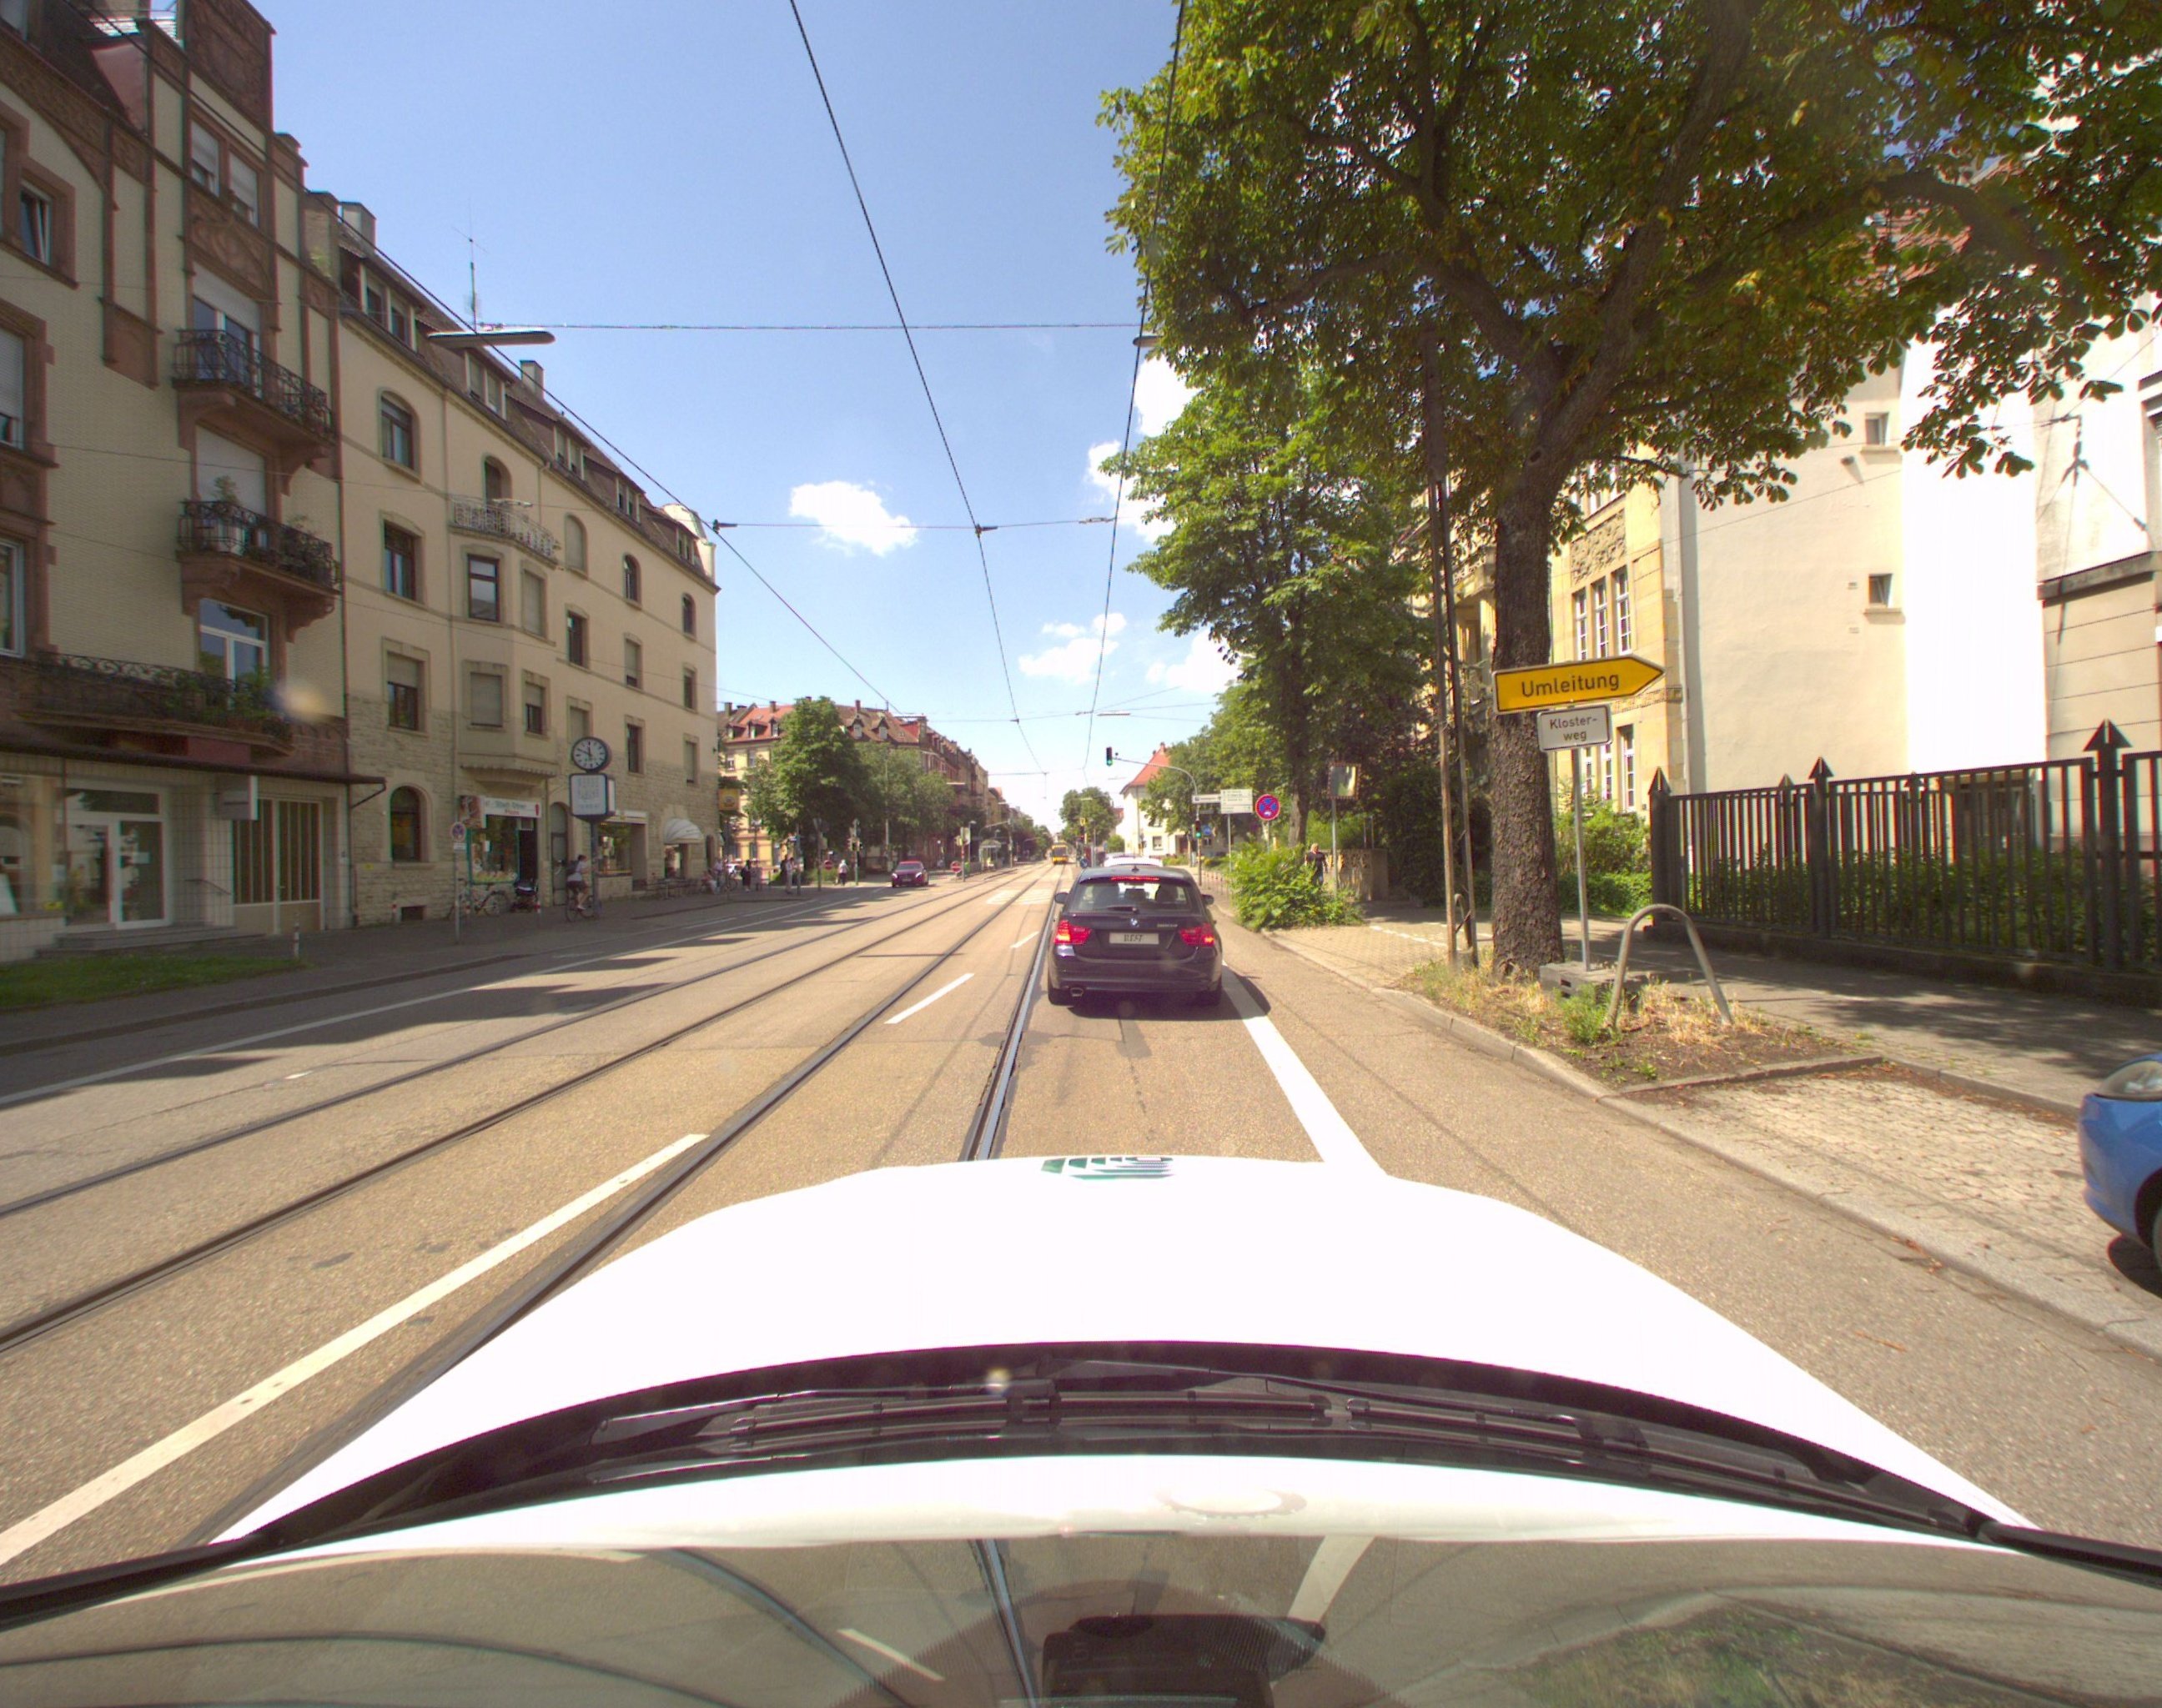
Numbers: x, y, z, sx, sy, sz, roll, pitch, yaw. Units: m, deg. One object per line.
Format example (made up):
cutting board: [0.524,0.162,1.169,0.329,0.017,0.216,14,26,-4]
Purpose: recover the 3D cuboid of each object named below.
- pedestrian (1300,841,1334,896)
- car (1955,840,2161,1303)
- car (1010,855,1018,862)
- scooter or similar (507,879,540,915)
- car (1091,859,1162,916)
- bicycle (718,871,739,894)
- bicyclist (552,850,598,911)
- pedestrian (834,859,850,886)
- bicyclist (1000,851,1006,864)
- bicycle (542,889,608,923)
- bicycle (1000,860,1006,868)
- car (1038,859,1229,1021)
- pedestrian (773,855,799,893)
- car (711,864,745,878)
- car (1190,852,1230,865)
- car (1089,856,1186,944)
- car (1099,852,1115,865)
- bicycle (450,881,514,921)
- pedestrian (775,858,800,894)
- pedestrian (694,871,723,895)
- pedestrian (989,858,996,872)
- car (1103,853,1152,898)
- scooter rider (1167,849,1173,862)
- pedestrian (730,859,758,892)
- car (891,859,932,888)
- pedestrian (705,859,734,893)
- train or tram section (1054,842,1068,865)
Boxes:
pedestrian: [7.235,0.440,25.006,0.852,1.645,0.838,-2,0,7]
car: [4.326,0.667,1.323,1.673,1.443,3.718,-5,0,-2]
car: [-16.244,1.160,197.812,1.787,1.586,3.987,0,-1,-9]
scooter or similar: [-17.177,1.310,25.088,0.700,1.044,1.195,0,-1,-41]
car: [1.134,0.835,21.852,1.686,1.323,3.820,-1,0,0]
bicycle: [-17.944,1.444,41.429,0.547,1.128,1.663,-1,-2,-38]
bicyclist: [-14.053,0.721,22.622,0.754,1.663,0.830,0,-1,-2]
pedestrian: [-15.196,1.169,51.854,0.917,1.723,0.836,-2,0,-14]
bicyclist: [-11.072,0.468,115.377,0.721,1.870,0.824,-2,0,-4]
bicycle: [-14.056,1.427,22.675,0.750,0.817,1.819,-2,0,-2]
bicycle: [-11.064,1.355,115.322,0.727,1.101,1.714,-2,0,-2]
car: [0.646,0.785,9.667,1.715,1.409,4.570,0,0,4]
pedestrian: [-15.322,1.023,42.258,0.898,1.891,1.164,-2,0,-2]
car: [-40.348,1.937,93.100,3.428,1.471,1.694,-2,0,24]
car: [14.252,0.502,89.939,3.948,1.243,1.634,-2,0,34]
car: [1.044,0.819,16.314,1.679,1.484,3.685,-2,0,1]
car: [3.887,0.733,123.784,1.990,1.849,3.994,-2,0,-4]
bicycle: [-16.942,1.316,23.073,0.366,1.066,1.473,-1,-1,22]
pedestrian: [-14.040,1.047,38.995,0.854,1.732,0.778,0,0,13]
pedestrian: [-17.302,1.329,37.864,0.913,1.077,0.883,-2,0,0]
pedestrian: [-7.978,1.032,73.444,0.613,1.243,0.626,-2,0,-7]
car: [1.680,0.744,29.795,1.684,1.514,3.824,0,0,3]
scooter rider: [11.113,0.188,102.166,0.590,1.687,0.527,-2,0,-6]
pedestrian: [-17.426,1.105,42.155,1.013,1.635,0.868,-2,0,33]
car: [-9.587,1.067,46.312,1.821,1.413,4.418,-3,0,-7]
pedestrian: [-17.631,1.065,39.713,0.908,1.594,0.813,-2,0,21]
train or tram section: [-3.234,-0.038,132.076,2.184,3.482,8.840,-2,0,-1]
